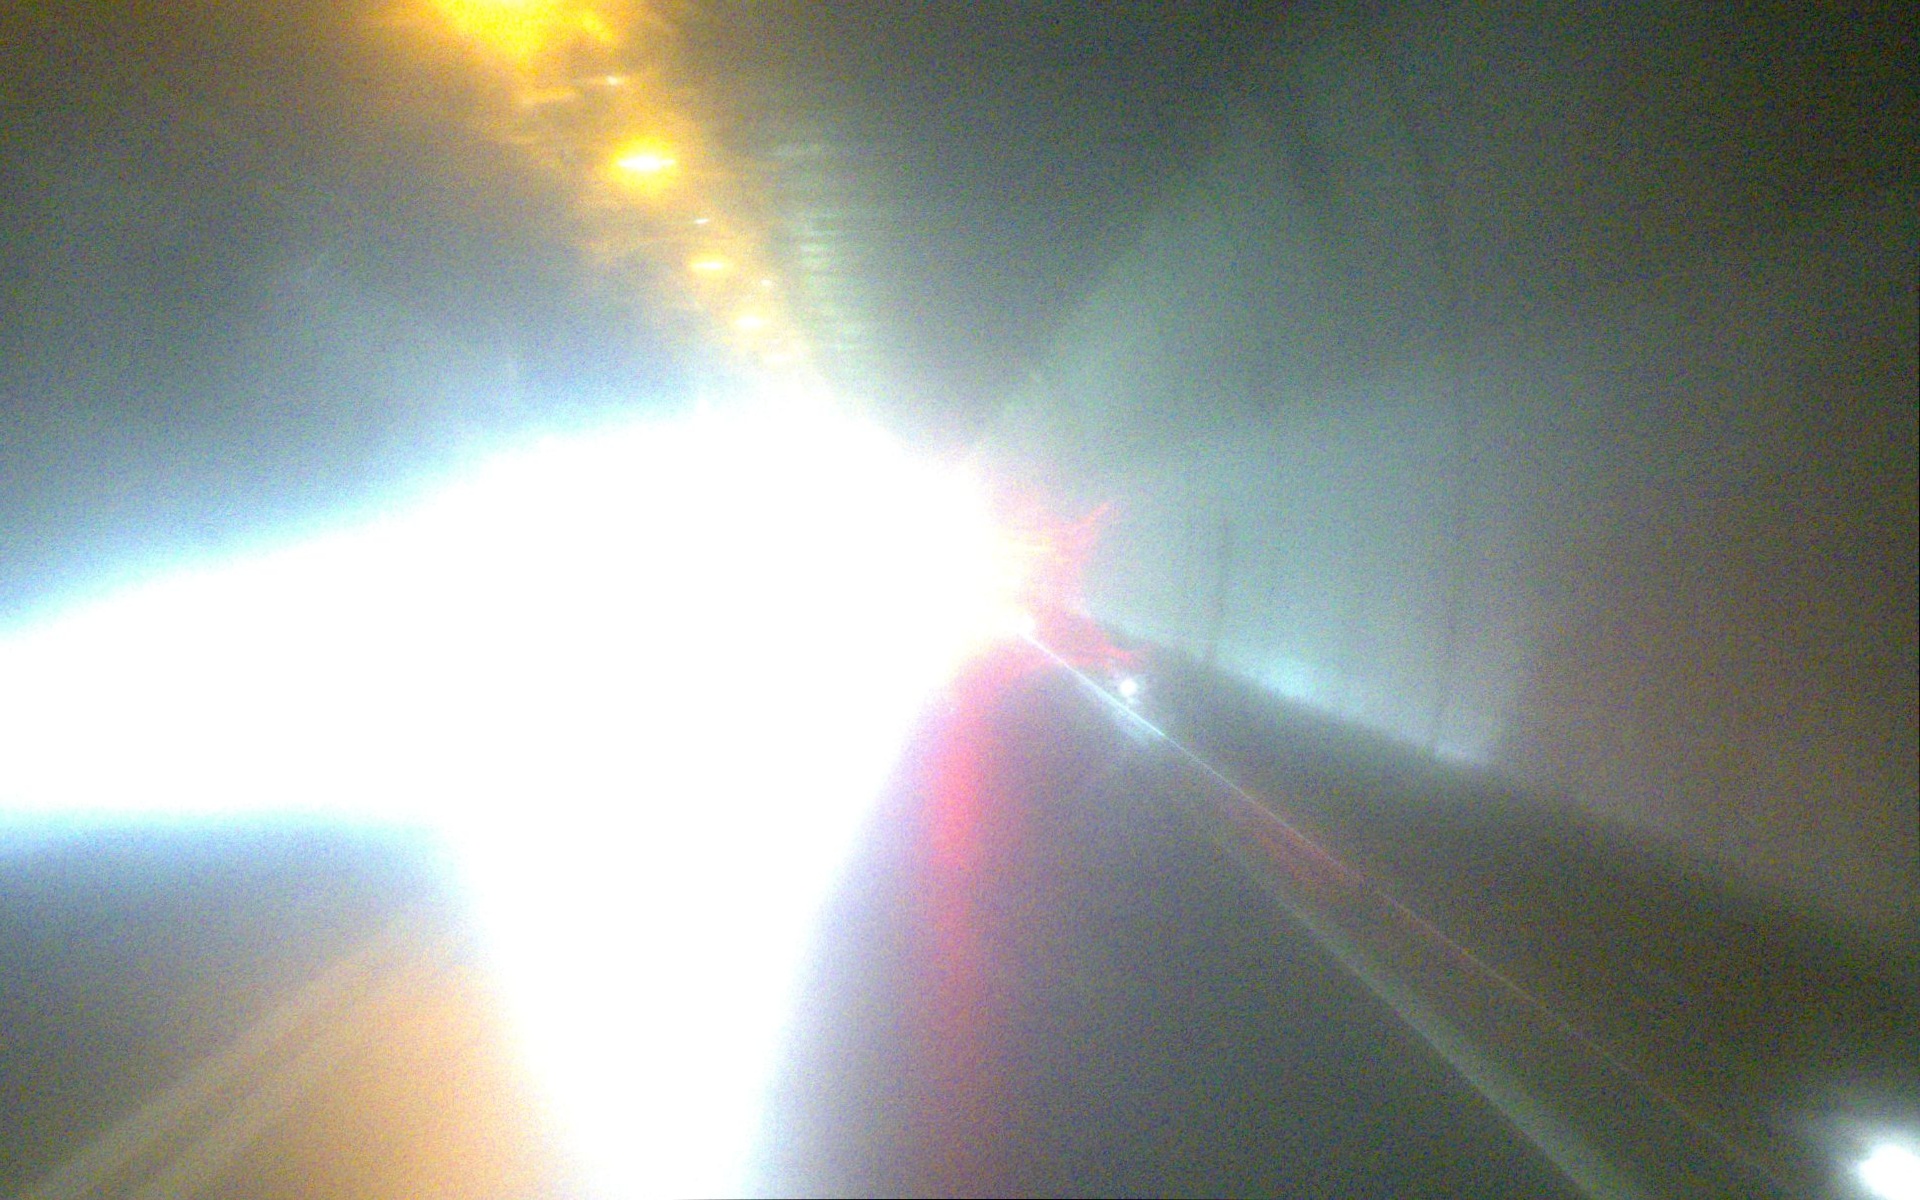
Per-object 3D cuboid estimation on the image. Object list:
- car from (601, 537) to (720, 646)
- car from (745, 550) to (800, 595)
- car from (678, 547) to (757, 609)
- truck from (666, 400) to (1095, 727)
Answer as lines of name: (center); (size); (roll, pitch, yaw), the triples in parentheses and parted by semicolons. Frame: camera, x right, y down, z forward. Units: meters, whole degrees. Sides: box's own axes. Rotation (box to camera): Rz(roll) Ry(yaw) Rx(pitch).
car: (-4.600, -0.153, 53.221); (1.569, 1.626, 3.730); (0, 1, -1)
car: (-6.253, -0.933, 115.134); (1.759, 1.475, 3.887); (1, 1, -2)
car: (-5.992, -0.565, 85.299); (1.735, 1.436, 3.836); (1, 1, -1)
truck: (-0.718, -0.366, 32.894); (3.535, 2.684, 8.956); (0, 1, -1)
